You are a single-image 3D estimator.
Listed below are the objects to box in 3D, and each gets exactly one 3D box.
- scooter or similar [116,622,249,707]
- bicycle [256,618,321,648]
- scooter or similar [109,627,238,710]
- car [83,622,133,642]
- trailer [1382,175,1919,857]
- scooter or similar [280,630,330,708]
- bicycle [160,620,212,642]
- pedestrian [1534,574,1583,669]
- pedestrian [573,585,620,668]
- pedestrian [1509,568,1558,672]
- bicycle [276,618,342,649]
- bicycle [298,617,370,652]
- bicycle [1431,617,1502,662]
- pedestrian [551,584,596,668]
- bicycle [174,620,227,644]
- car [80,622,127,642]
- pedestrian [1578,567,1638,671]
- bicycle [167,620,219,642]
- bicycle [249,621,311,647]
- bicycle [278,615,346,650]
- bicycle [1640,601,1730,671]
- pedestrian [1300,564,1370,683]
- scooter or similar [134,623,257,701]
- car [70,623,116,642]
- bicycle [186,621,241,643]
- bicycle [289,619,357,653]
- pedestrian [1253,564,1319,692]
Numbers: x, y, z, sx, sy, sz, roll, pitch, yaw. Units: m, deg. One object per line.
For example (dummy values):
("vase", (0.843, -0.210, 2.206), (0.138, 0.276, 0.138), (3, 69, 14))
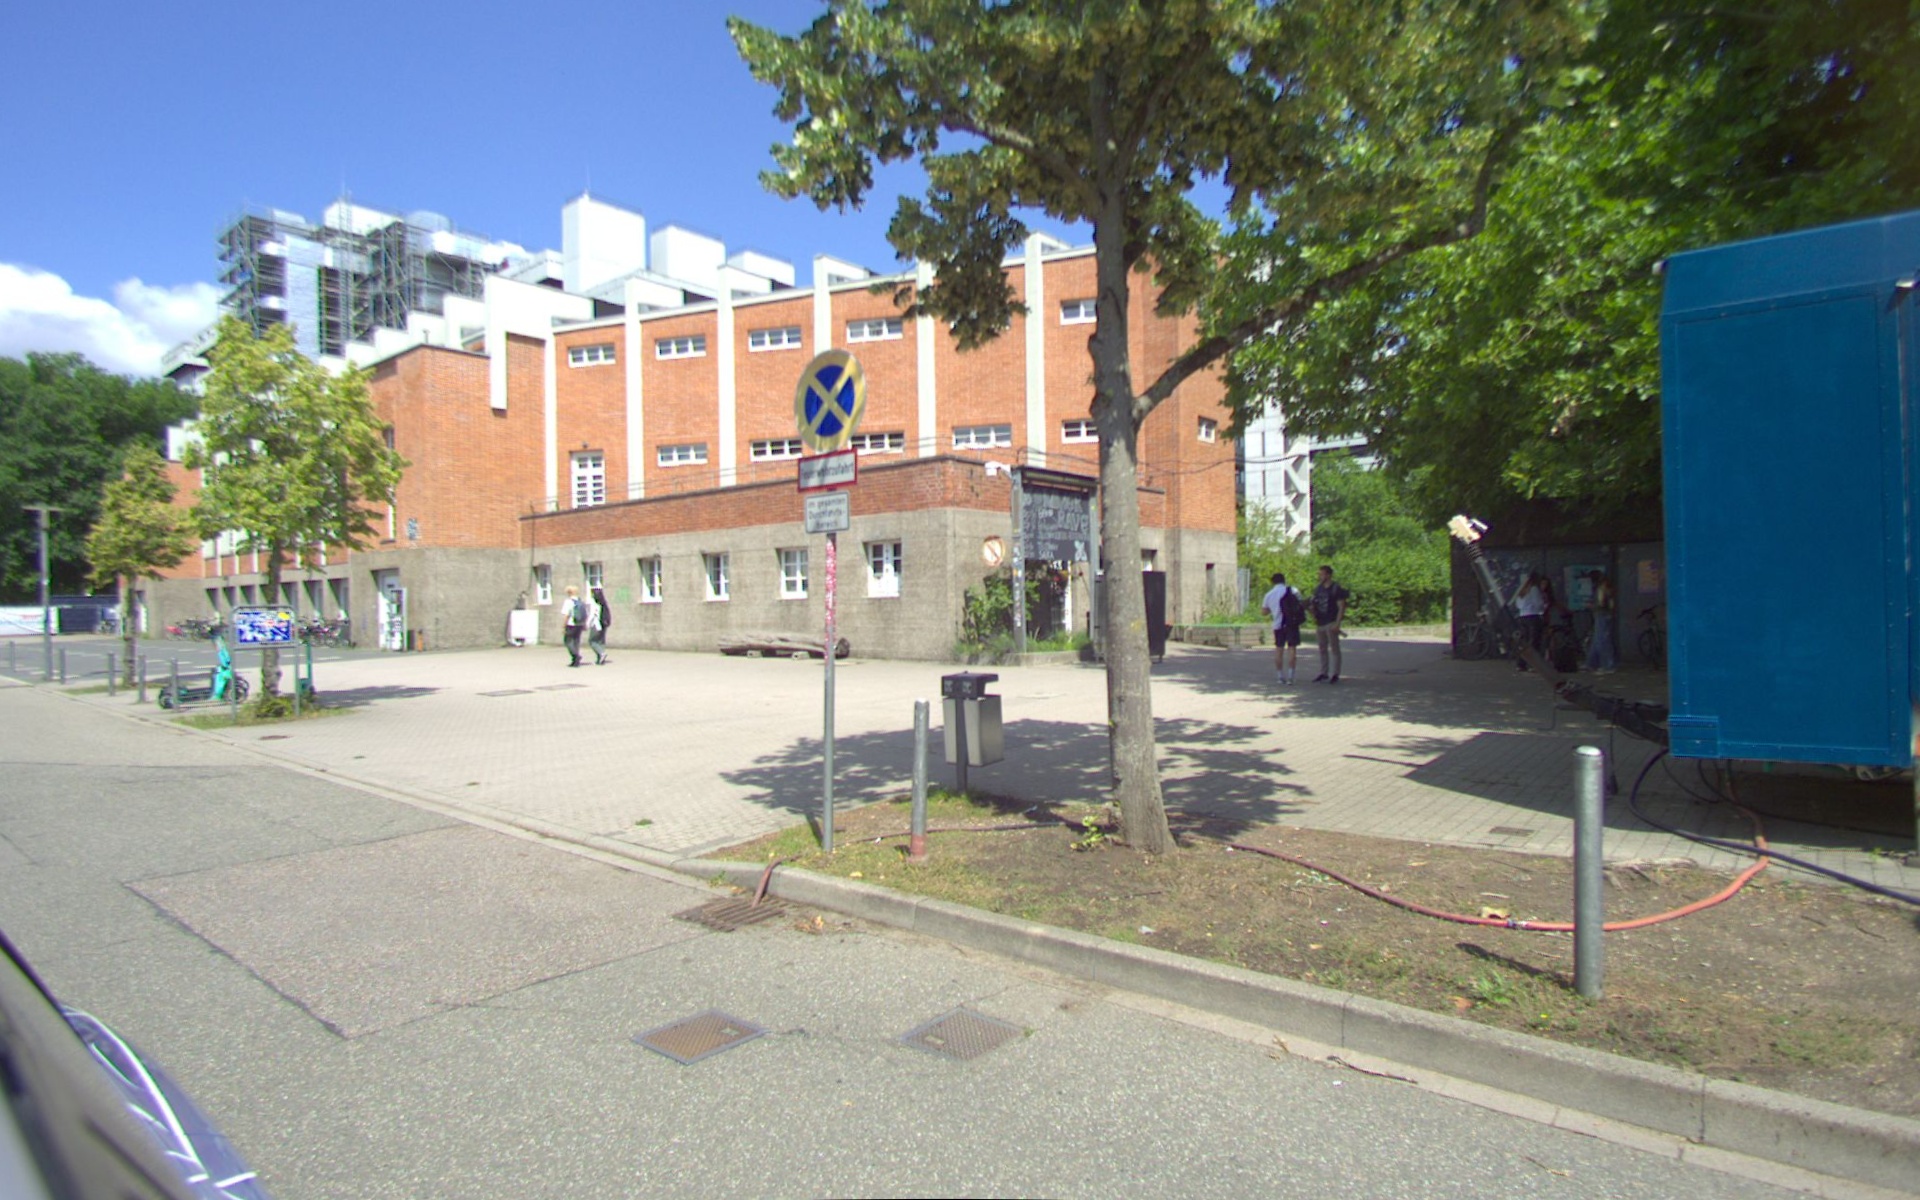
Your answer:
("scooter or similar", (-12.106, 0.985, 15.808), (1.548, 1.234, 0.526), (-1, 0, -23))
("bicycle", (-25.928, 1.271, 39.093), (0.662, 1.069, 2.002), (-1, 0, 39))
("scooter or similar", (-12.639, 1.079, 16.308), (1.548, 1.234, 0.567), (-1, 0, -23))
("car", (-53.725, 2.025, 63.816), (0.794, 1.189, 2.337), (-1, 0, 41))
("trailer", (5.780, -0.413, 5.023), (6.261, 3.049, 2.669), (-1, 1, 40))
("scooter or similar", (-10.530, 1.086, 16.259), (0.556, 1.157, 1.352), (-1, 0, -38))
("bicycle", (-37.791, 1.509, 49.409), (0.541, 1.038, 1.931), (-1, 0, 39))
("pedestrian", (10.390, 0.365, 17.583), (0.407, 1.605, 0.606), (-2, 0, -2))
("pedestrian", (-8.064, 0.569, 22.453), (0.916, 1.793, 0.570), (-1, 0, 40))
("pedestrian", (9.764, 0.335, 17.240), (0.441, 1.723, 0.531), (-2, 0, -4))
("bicycle", (-24.496, 1.237, 38.084), (0.621, 1.090, 1.990), (-1, 0, 39))
("bicycle", (-21.607, 1.174, 34.980), (0.666, 1.134, 2.002), (-1, 0, 39))
("bicycle", (10.198, 0.783, 20.396), (1.231, 0.890, 0.301), (-1, 0, 42))
("pedestrian", (-8.389, 0.555, 21.965), (0.805, 1.775, 0.557), (-1, 0, 39))
("bicycle", (-35.386, 1.476, 47.172), (0.529, 1.038, 1.931), (-1, 0, 39))
("car", (-55.026, 2.065, 65.014), (0.524, 1.189, 2.259), (-1, 0, 41))
("pedestrian", (10.721, 0.308, 16.760), (0.496, 1.663, 0.678), (-2, 0, 1))
("bicycle", (-37.100, 1.488, 48.955), (0.518, 1.038, 1.931), (-1, 0, 39))
("bicycle", (-27.163, 1.339, 40.449), (0.684, 0.967, 1.931), (-1, 0, 39))
("bicycle", (-23.681, 1.171, 37.001), (0.439, 1.134, 1.999), (-1, 1, 44))
("bicycle", (11.836, 0.567, 16.558), (0.411, 1.085, 1.351), (1, 1, -4))
("pedestrian", (5.613, 0.333, 15.169), (0.481, 1.733, 0.883), (1, 1, -22))
("scooter or similar", (-12.928, 1.037, 17.159), (1.548, 1.234, 0.572), (-1, 0, -23))
("car", (-56.966, 2.121, 66.515), (0.479, 1.189, 2.295), (-1, 0, 41))
("bicycle", (-34.165, 1.440, 46.343), (0.568, 0.948, 1.931), (-1, 0, 39))
("bicycle", (-22.898, 1.278, 36.404), (0.592, 1.134, 2.001), (-1, 0, 41))
("pedestrian", (4.818, 0.396, 14.995), (0.441, 1.833, 0.883), (1, 1, -22))
